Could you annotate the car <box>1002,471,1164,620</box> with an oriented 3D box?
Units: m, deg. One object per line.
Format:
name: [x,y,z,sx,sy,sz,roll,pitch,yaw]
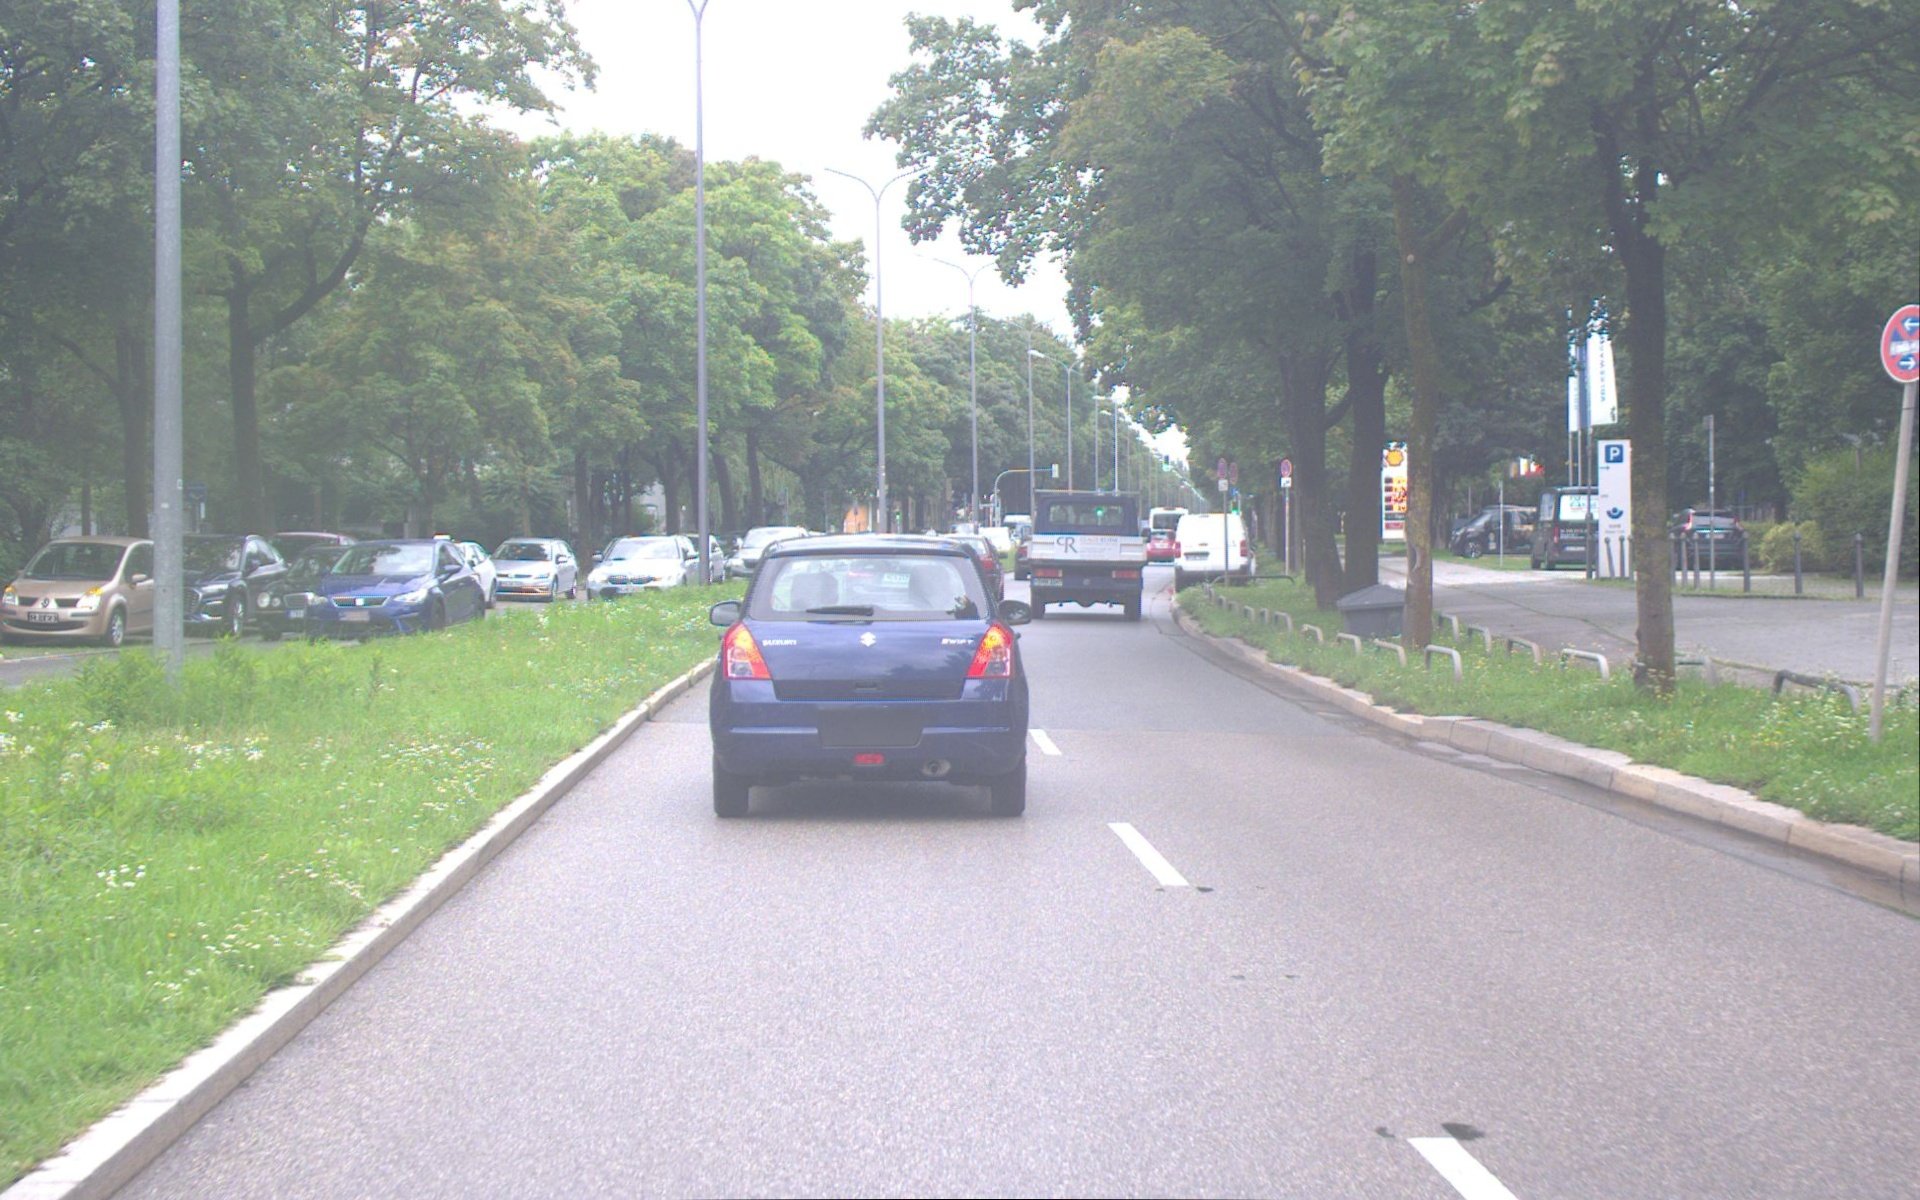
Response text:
car: [2.197,-0.968,59.722,2.419,2.435,5.085,1,1,6]

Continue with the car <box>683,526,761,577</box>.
car: [-7.573,-1.575,109.799,1.716,1.519,5.034,2,2,4]

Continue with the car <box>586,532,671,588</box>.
car: [-9.135,-1.123,95.000,1.580,1.418,4.362,2,2,4]

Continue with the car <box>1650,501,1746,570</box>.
car: [20.161,-1.779,94.050,1.842,1.812,4.472,-1,1,3]

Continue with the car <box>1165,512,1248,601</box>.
car: [6.277,-1.133,87.072,1.987,2.150,5.555,-1,1,5]

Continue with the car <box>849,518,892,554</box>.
car: [-4.014,-2.901,154.906,1.691,1.560,3.079,-1,1,3]

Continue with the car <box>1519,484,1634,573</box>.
car: [16.753,-1.965,93.758,2.265,2.299,6.268,-1,1,3]

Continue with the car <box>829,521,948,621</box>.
car: [-1.151,-0.487,54.602,1.799,1.494,3.660,-1,1,-2]

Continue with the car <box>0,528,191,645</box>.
car: [-12.661,-0.227,50.184,1.647,1.608,3.818,1,1,6]

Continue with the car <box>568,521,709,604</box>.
car: [-6.065,-0.749,65.423,1.915,1.479,4.865,-1,1,3]

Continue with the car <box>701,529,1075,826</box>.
car: [-0.315,0.359,19.340,1.896,1.494,3.660,-1,1,2]

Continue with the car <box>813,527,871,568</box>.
car: [-4.851,-2.169,141.920,1.832,1.604,4.491,2,2,5]

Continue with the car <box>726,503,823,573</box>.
car: [-4.487,-1.529,83.755,1.766,1.619,4.376,-1,1,5]

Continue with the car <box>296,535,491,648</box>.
car: [-7.474,-0.144,45.699,1.692,1.397,3.967,-1,1,3]

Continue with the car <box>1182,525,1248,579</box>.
car: [6.938,-1.316,93.279,1.702,1.392,4.232,-1,1,5]

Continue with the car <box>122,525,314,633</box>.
car: [-12.014,-0.379,55.934,1.739,1.638,4.684,1,1,5]

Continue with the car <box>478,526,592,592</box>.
car: [-10.041,-1.003,81.468,1.736,1.443,4.822,2,1,4]

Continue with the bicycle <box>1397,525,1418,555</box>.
bicycle: [18.253,-2.460,140.307,0.748,1.179,2.246,-1,1,5]

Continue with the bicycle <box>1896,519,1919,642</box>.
bicycle: [10.224,-0.249,34.012,1.948,1.185,0.597,-5,3,-29]

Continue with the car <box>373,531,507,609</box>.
car: [-10.785,-0.654,71.515,1.739,1.524,4.475,1,1,5]

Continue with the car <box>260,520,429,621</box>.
car: [-9.544,-0.490,53.571,1.692,1.479,3.967,-1,1,3]

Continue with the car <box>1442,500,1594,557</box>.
car: [21.034,-2.679,129.696,5.470,2.076,2.147,0,1,4]
